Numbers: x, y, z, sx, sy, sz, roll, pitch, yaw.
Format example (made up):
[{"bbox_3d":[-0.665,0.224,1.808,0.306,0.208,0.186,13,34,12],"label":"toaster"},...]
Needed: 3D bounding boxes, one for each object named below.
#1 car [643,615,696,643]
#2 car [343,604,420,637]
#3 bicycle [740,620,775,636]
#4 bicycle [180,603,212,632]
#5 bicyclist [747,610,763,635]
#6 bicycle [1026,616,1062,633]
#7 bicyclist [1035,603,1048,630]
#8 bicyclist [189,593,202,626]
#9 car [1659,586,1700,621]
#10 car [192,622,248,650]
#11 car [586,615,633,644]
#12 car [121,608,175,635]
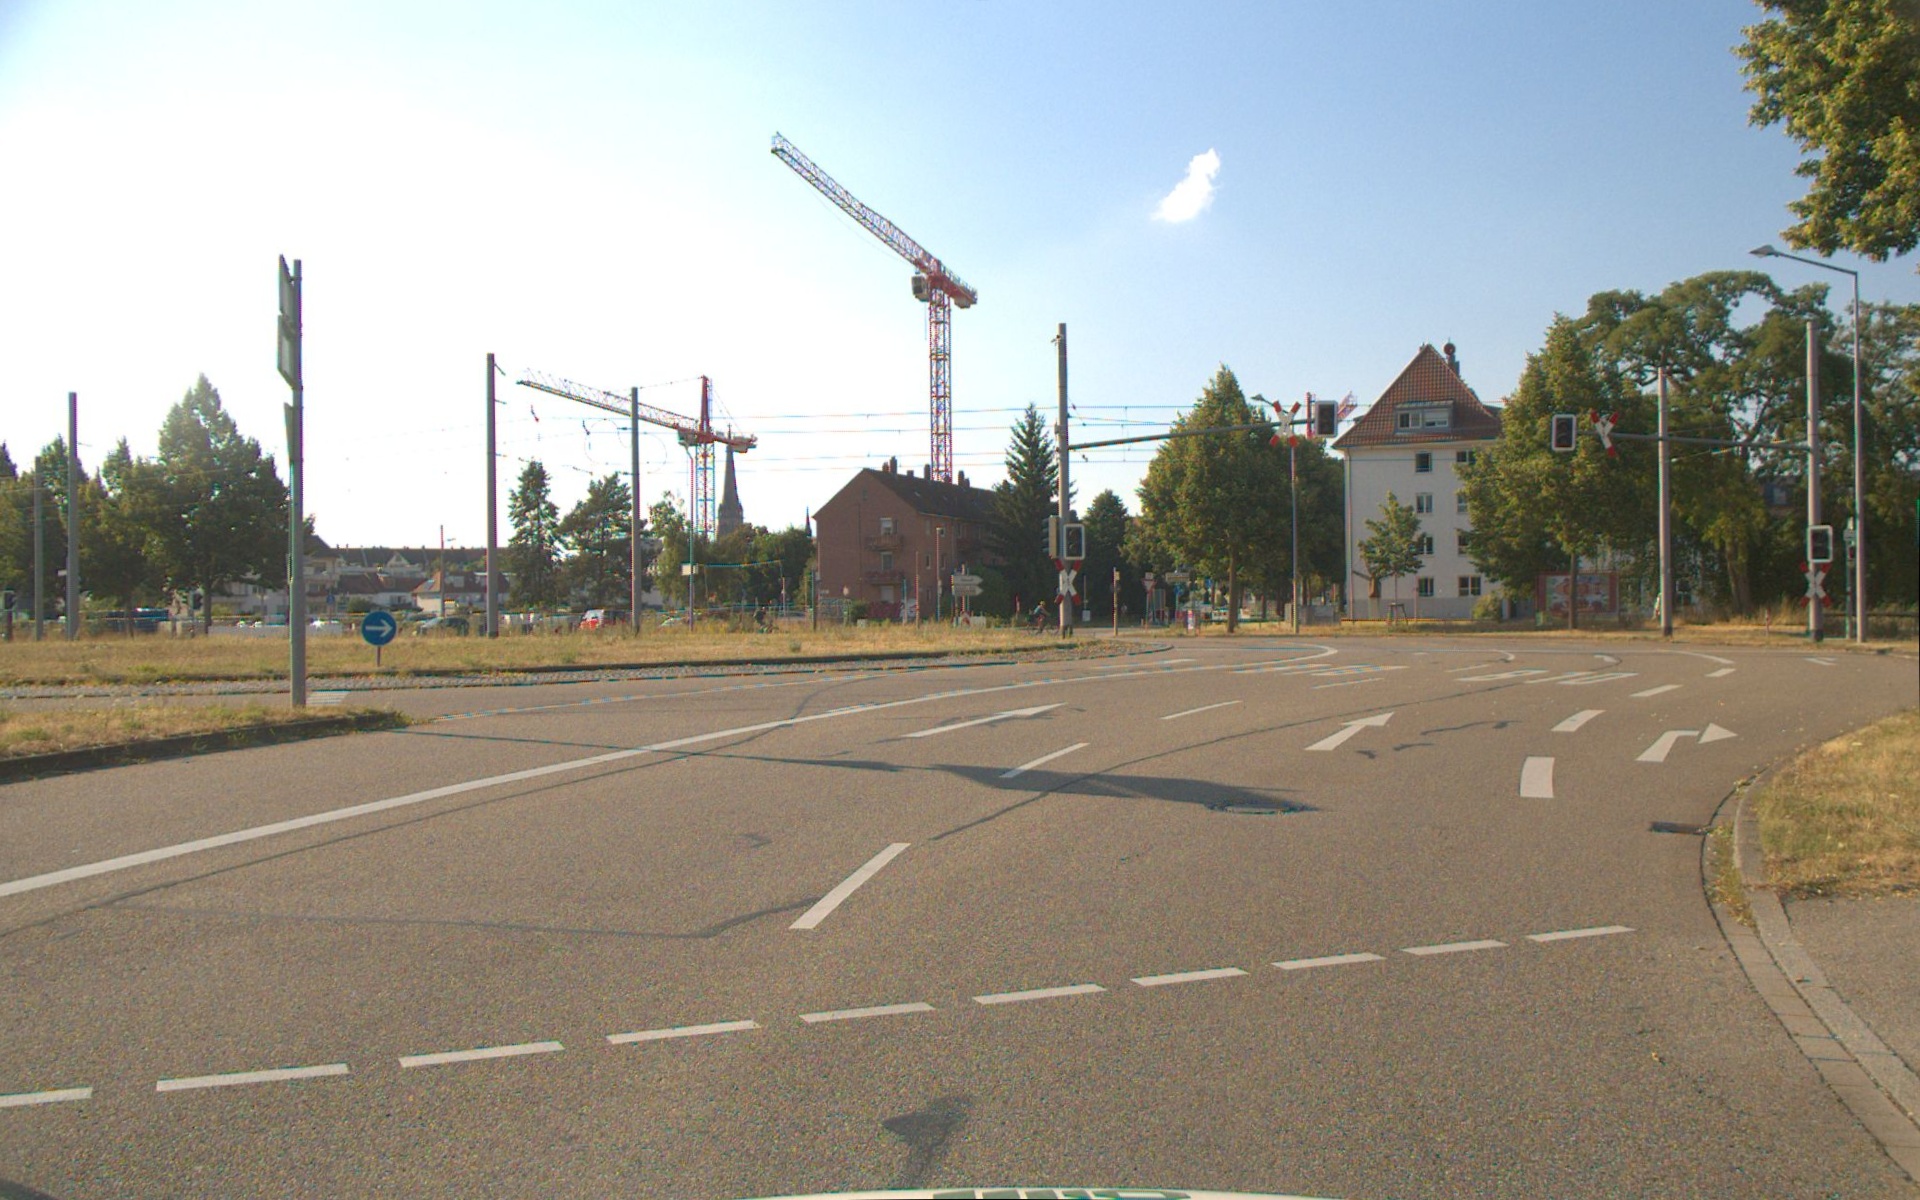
[{"bbox_3d":[-22.588,2.258,128.728,3.728,2.049,1.673,-1,-1,16],"label":"car"},{"bbox_3d":[-34.630,1.227,99.004,3.954,1.847,1.975,-1,0,-35],"label":"car"},{"bbox_3d":[-11.457,1.573,93.457,1.950,0.839,0.429,-1,0,-9],"label":"bicycle"},{"bbox_3d":[-40.374,0.923,87.424,1.519,1.499,0.476,-1,0,-24],"label":"bicycle"},{"bbox_3d":[-11.575,1.259,93.472,0.880,1.421,0.525,-1,0,-8],"label":"bicyclist"},{"bbox_3d":[4.753,1.406,93.798,1.950,0.934,0.429,-1,0,-9],"label":"bicycle"},{"bbox_3d":[4.618,0.920,93.781,0.610,1.537,0.418,-1,0,-8],"label":"bicyclist"},{"bbox_3d":[-40.419,0.506,87.419,0.598,1.701,0.474,0,-1,-24],"label":"bicyclist"},{"bbox_3d":[35.484,0.174,81.552,1.736,1.646,3.965,-1,-1,25],"label":"car"},{"bbox_3d":[-56.400,2.713,126.016,3.914,2.049,1.996,-1,0,31],"label":"car"},{"bbox_3d":[-23.873,1.992,112.681,1.901,1.886,3.955,-1,0,-32],"label":"car"},{"bbox_3d":[-63.910,1.661,130.178,3.914,2.049,1.996,-1,0,31],"label":"car"}]
